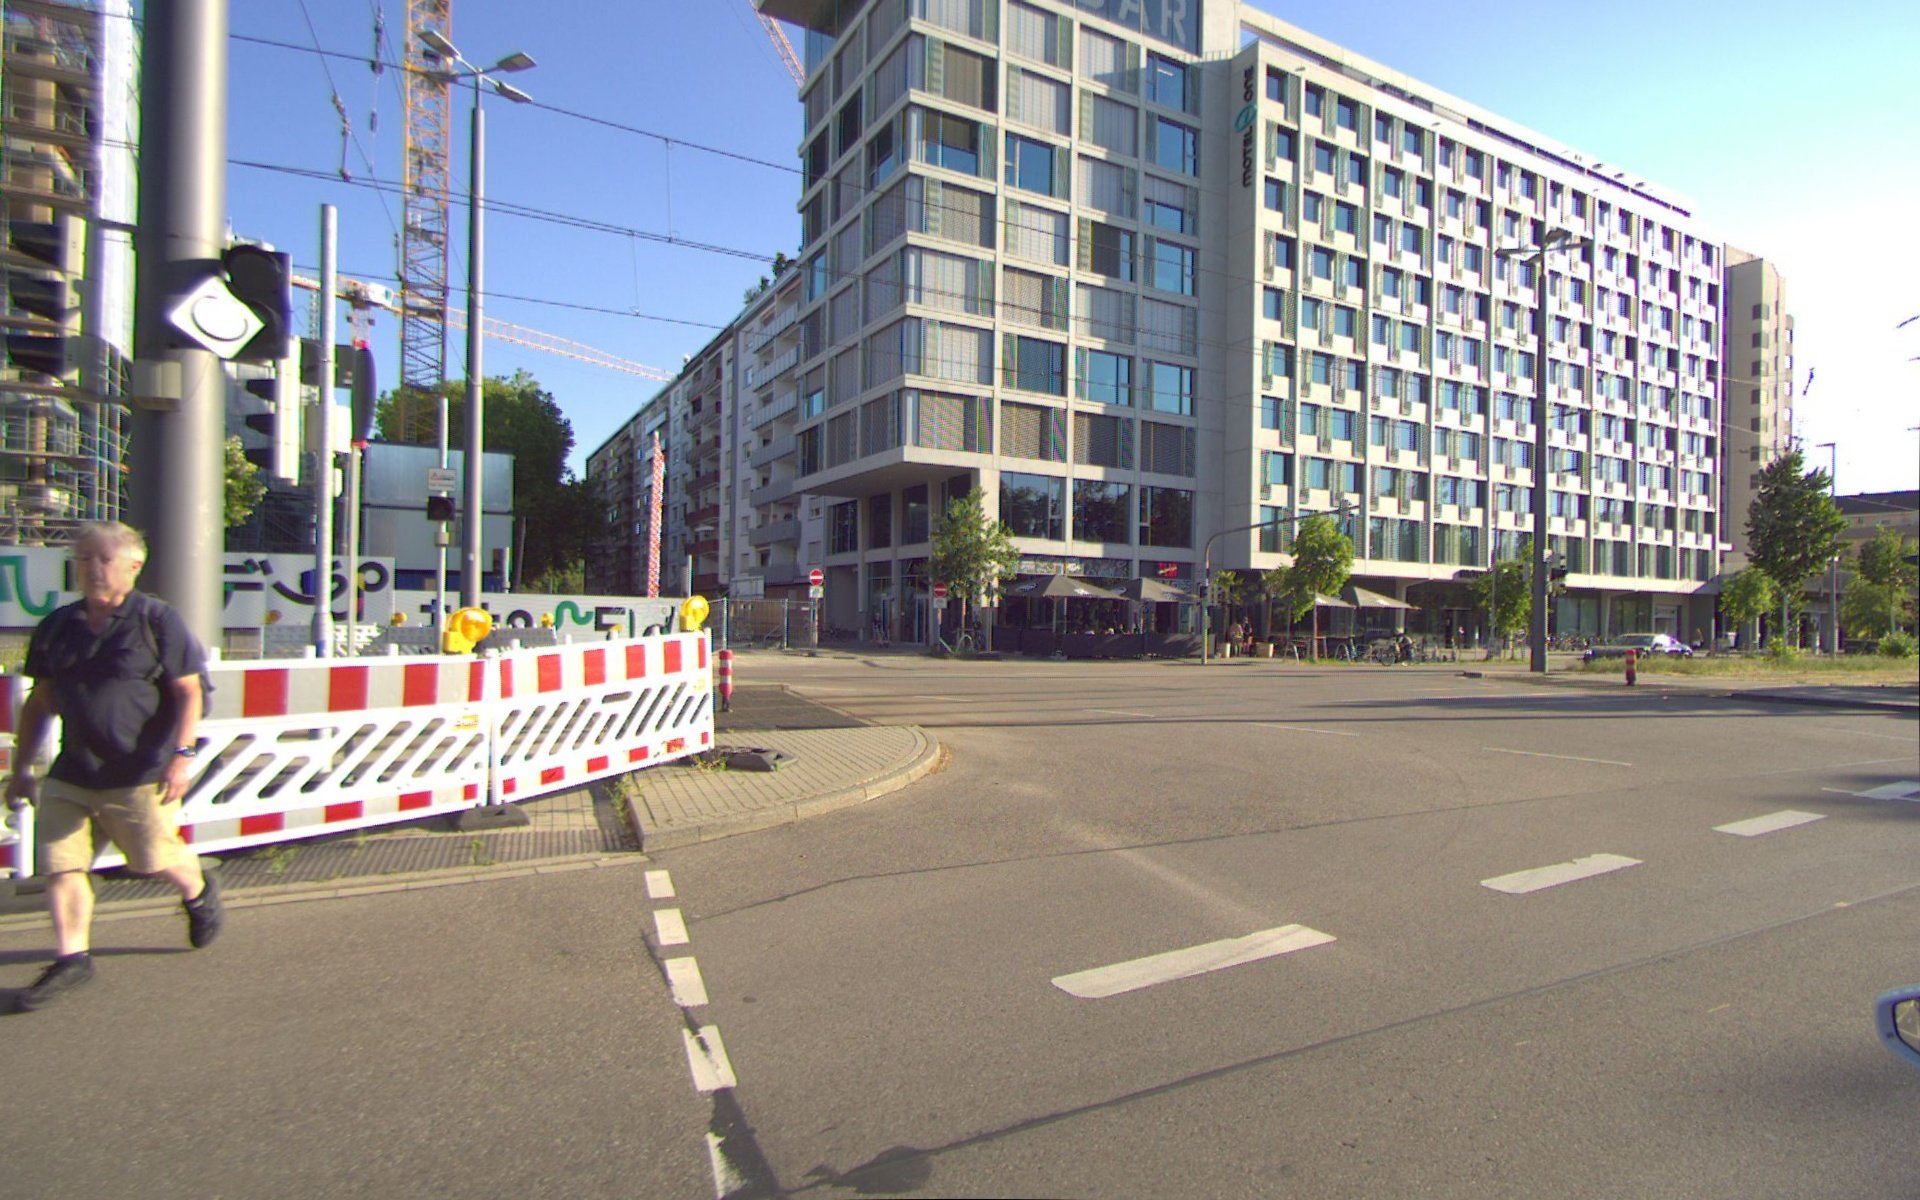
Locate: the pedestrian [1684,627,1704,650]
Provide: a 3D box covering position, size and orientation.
[{"bbox_3d":[53.082,2.770,72.608,0.958,1.675,0.840,1,-1,-28],"label":"pedestrian"}]

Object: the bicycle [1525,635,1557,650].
[{"bbox_3d":[38.467,2.800,66.558,0.507,0.917,1.792,2,-1,-35],"label":"bicycle"}]

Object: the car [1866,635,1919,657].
[{"bbox_3d":[74.679,3.643,79.806,3.554,1.543,1.621,3,1,20],"label":"car"}]

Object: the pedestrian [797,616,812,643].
[{"bbox_3d":[-9.019,1.709,58.204,0.695,1.555,0.580,1,-1,-23],"label":"pedestrian"}]

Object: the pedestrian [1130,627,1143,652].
[{"bbox_3d":[8.788,1.949,49.959,0.491,1.238,0.430,1,-1,-29],"label":"pedestrian"}]

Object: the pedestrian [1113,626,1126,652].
[{"bbox_3d":[7.859,1.923,49.447,0.491,1.238,0.430,1,-1,-29],"label":"pedestrian"}]

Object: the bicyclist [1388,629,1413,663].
[{"bbox_3d":[19.488,2.014,44.456,0.841,1.484,0.622,1,-1,-29],"label":"bicyclist"}]

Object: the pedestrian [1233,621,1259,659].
[{"bbox_3d":[13.546,1.881,47.608,0.791,1.744,0.868,1,-1,-20],"label":"pedestrian"}]

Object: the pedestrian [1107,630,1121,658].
[{"bbox_3d":[6.685,1.894,43.637,0.428,1.209,0.362,1,-1,-33],"label":"pedestrian"}]

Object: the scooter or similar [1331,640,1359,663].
[{"bbox_3d":[17.787,2.386,46.382,0.401,1.019,1.238,1,-1,-28],"label":"scooter or similar"}]

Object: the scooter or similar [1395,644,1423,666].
[{"bbox_3d":[21.495,2.617,48.103,0.429,1.033,1.238,1,-1,-28],"label":"scooter or similar"}]

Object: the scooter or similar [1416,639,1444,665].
[{"bbox_3d":[22.866,2.529,48.872,0.401,1.187,1.238,1,-1,-28],"label":"scooter or similar"}]

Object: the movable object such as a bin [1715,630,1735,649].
[{"bbox_3d":[60.041,3.127,78.858,1.386,1.459,0.796,1,-1,-30],"label":"movable object such as a bin"}]

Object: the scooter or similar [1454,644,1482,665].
[{"bbox_3d":[25.410,2.726,50.296,0.429,1.033,1.238,1,-1,-28],"label":"scooter or similar"}]

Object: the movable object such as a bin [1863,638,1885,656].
[{"bbox_3d":[67.871,3.514,74.580,0.924,1.297,0.858,1,-1,-15],"label":"movable object such as a bin"}]

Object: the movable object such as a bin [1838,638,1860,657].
[{"bbox_3d":[66.930,3.554,75.629,0.924,1.375,0.858,1,-1,-15],"label":"movable object such as a bin"}]

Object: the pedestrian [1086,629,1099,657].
[{"bbox_3d":[5.735,1.866,43.584,0.428,1.209,0.362,1,-1,-33],"label":"pedestrian"}]

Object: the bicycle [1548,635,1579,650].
[{"bbox_3d":[40.854,2.868,68.022,0.477,0.979,1.743,1,0,-30],"label":"bicycle"}]

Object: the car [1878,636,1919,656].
[{"bbox_3d":[77.287,3.785,81.361,3.919,1.472,1.788,2,0,13],"label":"car"}]

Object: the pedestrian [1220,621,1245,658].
[{"bbox_3d":[12.831,1.861,47.281,0.791,1.744,0.868,1,-1,-20],"label":"pedestrian"}]

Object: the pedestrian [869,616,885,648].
[{"bbox_3d":[-4.026,1.539,48.808,0.570,1.518,0.583,1,-1,-31],"label":"pedestrian"}]

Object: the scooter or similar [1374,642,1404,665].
[{"bbox_3d":[20.205,2.503,47.322,0.504,1.033,1.238,1,-1,-28],"label":"scooter or similar"}]

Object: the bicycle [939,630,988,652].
[{"bbox_3d":[0.182,1.846,44.893,2.191,0.948,0.615,2,-1,-31],"label":"bicycle"}]

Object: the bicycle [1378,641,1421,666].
[{"bbox_3d":[19.462,2.368,44.453,2.053,1.081,0.622,2,-1,-29],"label":"bicycle"}]

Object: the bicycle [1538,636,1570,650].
[{"bbox_3d":[39.566,2.856,66.964,0.507,0.917,1.792,2,-1,-35],"label":"bicycle"}]

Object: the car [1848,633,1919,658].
[{"bbox_3d":[71.966,3.544,78.028,4.015,1.622,1.750,3,2,20],"label":"car"}]

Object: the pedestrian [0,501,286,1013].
[{"bbox_3d":[-3.116,0.522,3.787,0.754,1.671,0.922,1,-1,-23],"label":"pedestrian"}]

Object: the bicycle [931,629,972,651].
[{"bbox_3d":[-0.377,1.827,45.657,1.879,0.948,0.533,2,-1,-31],"label":"bicycle"}]

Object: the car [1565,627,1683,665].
[{"bbox_3d":[25.393,1.742,38.373,4.794,1.361,1.882,2,-1,-31],"label":"car"}]
